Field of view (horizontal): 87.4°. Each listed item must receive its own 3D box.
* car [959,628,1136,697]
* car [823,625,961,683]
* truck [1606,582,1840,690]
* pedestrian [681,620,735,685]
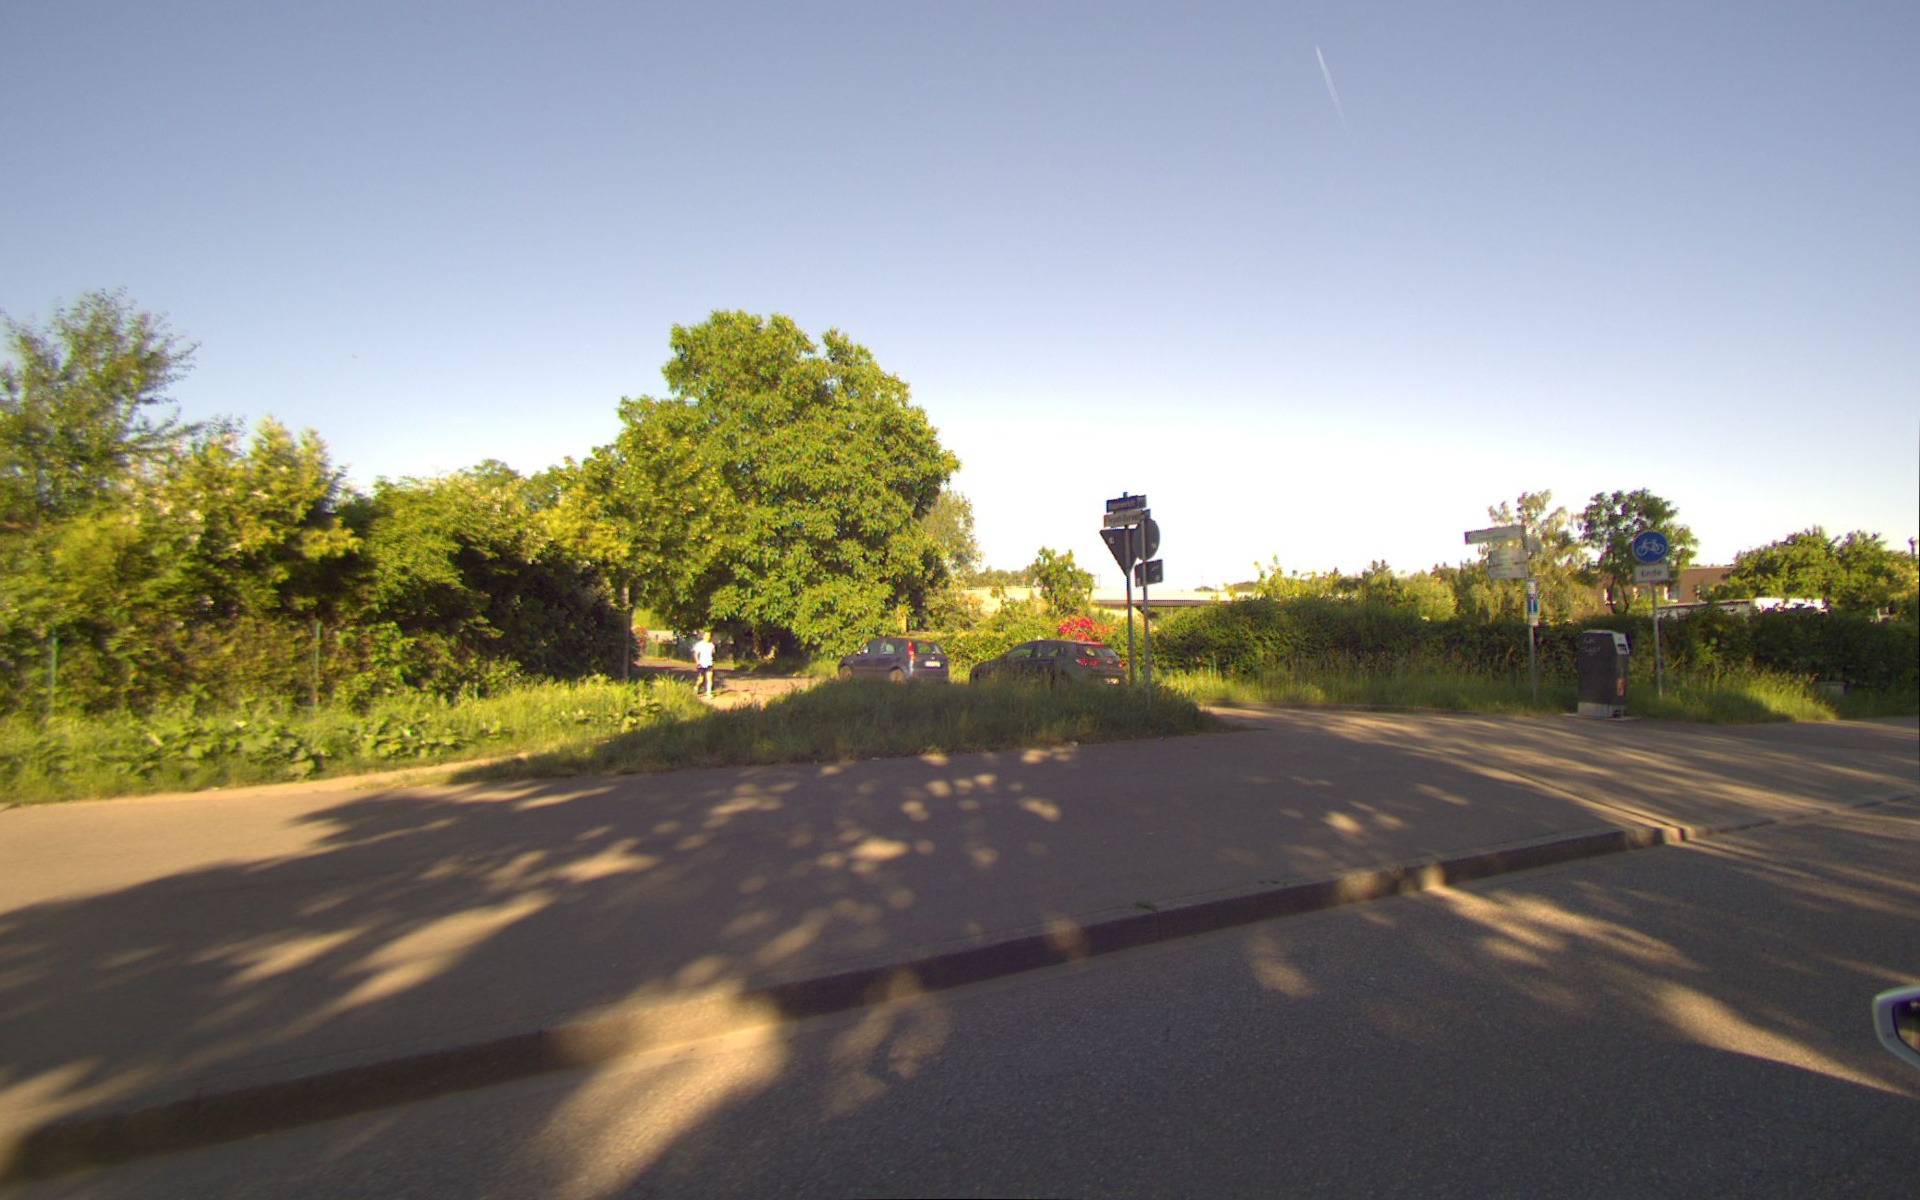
[{"bbox_3d":[2.035,1.473,24.122,1.876,1.466,3.987,6,-5,-42],"label":"car"},{"bbox_3d":[-2.019,1.530,28.951,1.876,1.466,3.987,6,-5,-42],"label":"car"},{"bbox_3d":[31.742,1.569,42.483,2.658,3.933,9.336,3,-3,-1],"label":"truck"},{"bbox_3d":[-5.815,1.220,23.154,0.807,1.422,1.009,5,-5,-39],"label":"pedestrian"}]
